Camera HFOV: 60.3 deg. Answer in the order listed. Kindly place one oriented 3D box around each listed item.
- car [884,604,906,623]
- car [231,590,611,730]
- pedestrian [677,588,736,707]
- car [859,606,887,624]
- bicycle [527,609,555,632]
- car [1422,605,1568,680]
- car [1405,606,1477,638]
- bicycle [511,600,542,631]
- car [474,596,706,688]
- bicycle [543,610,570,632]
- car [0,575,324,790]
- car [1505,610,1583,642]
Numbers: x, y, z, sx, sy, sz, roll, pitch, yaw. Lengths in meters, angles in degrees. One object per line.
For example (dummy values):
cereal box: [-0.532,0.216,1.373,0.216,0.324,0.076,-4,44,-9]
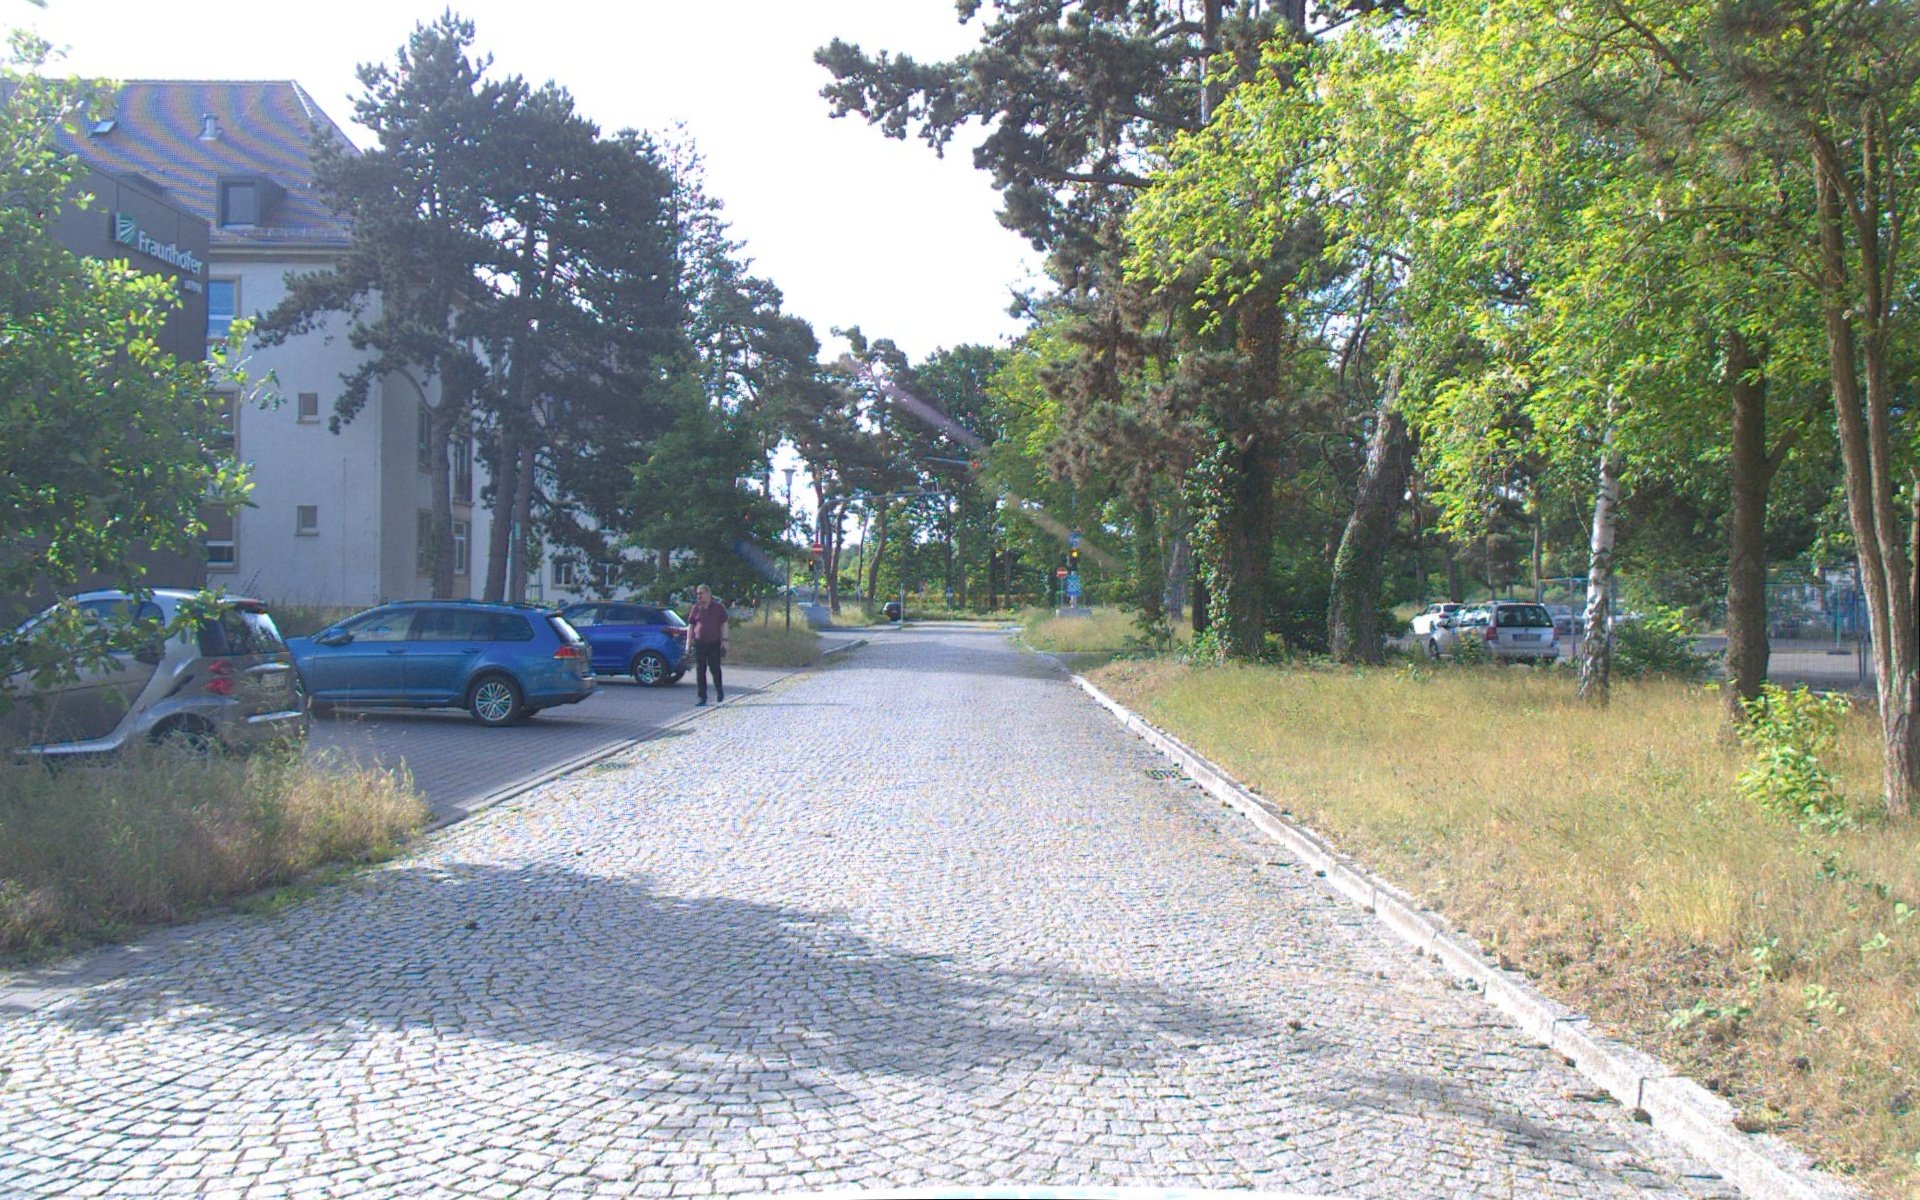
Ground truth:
car: [-5.341,1.103,136.536,1.808,1.512,3.998,0,0,-2]
car: [-6.649,0.720,20.726,4.171,1.489,1.680,2,1,-3]
pedestrian: [-3.921,0.722,25.680,0.788,1.803,1.152,0,0,-4]
car: [-7.448,1.256,141.265,1.745,1.516,3.758,0,0,7]
bicycle: [-20.313,0.981,80.131,0.809,1.065,2.124,0,0,0]
car: [11.296,0.868,35.180,1.634,1.493,3.997,0,0,-3]
car: [21.149,0.948,72.836,1.696,1.335,4.329,0,0,-3]
bicycle: [-21.086,0.745,80.472,0.809,1.463,2.553,0,0,0]
car: [-6.726,0.755,30.309,3.756,1.489,1.720,2,-1,2]
bicycle: [-19.546,1.007,80.177,0.809,1.065,2.124,0,0,0]
car: [-6.798,0.622,13.402,2.644,1.569,1.518,2,-1,-1]
car: [25.865,1.127,73.383,1.696,1.335,4.329,0,0,-3]
